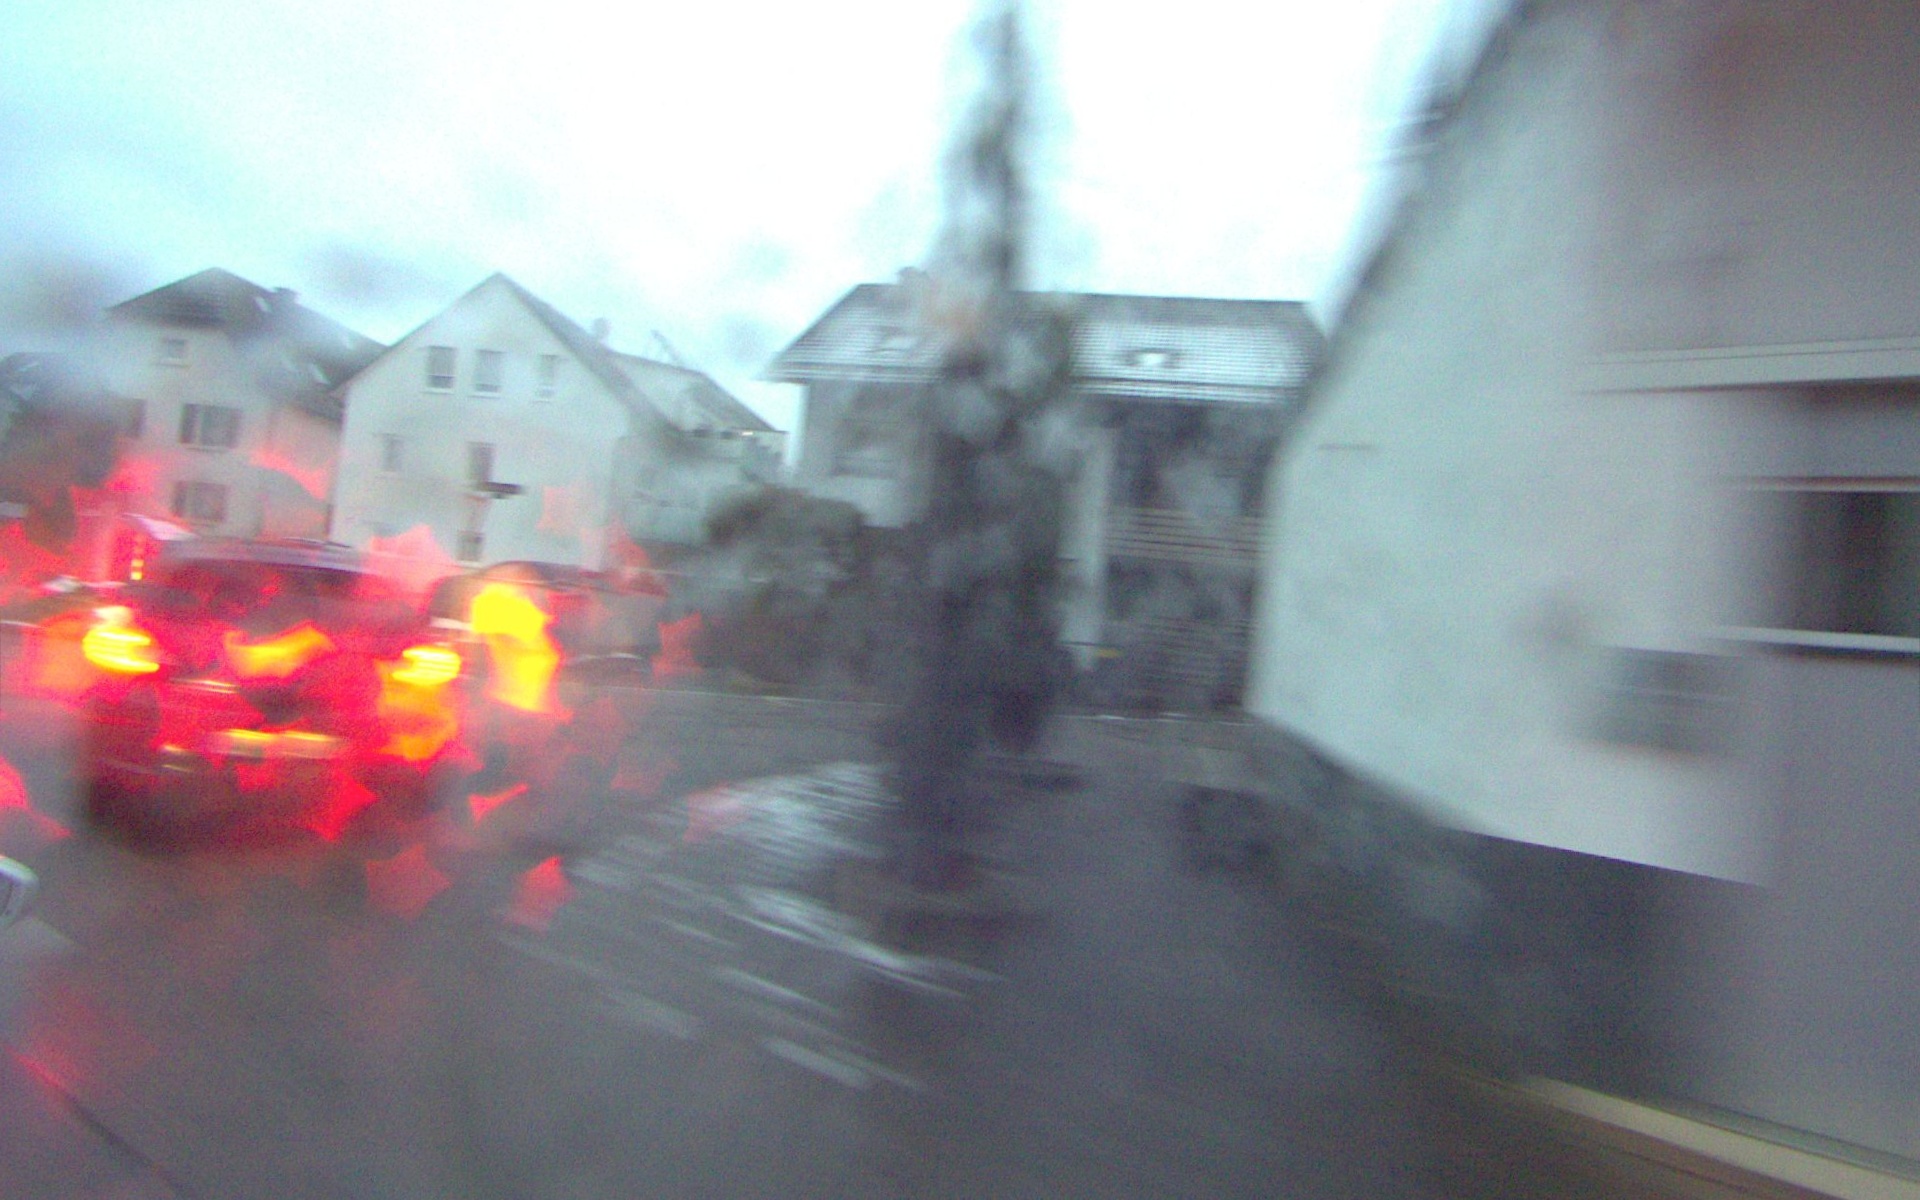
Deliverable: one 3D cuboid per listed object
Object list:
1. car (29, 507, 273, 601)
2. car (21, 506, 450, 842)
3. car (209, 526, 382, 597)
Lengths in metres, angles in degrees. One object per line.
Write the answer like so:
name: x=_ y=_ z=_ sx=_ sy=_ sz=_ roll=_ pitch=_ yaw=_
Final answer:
car: x=-19.392 y=-1.075 z=24.223 sx=4.465 sy=1.649 sz=1.815 roll=7 pitch=1 yaw=5
car: x=-4.433 y=0.337 z=6.366 sx=1.537 sy=1.483 sz=3.665 roll=8 pitch=-2 yaw=-35
car: x=-19.760 y=-1.126 z=30.026 sx=3.924 sy=1.586 sz=1.815 roll=7 pitch=1 yaw=5
